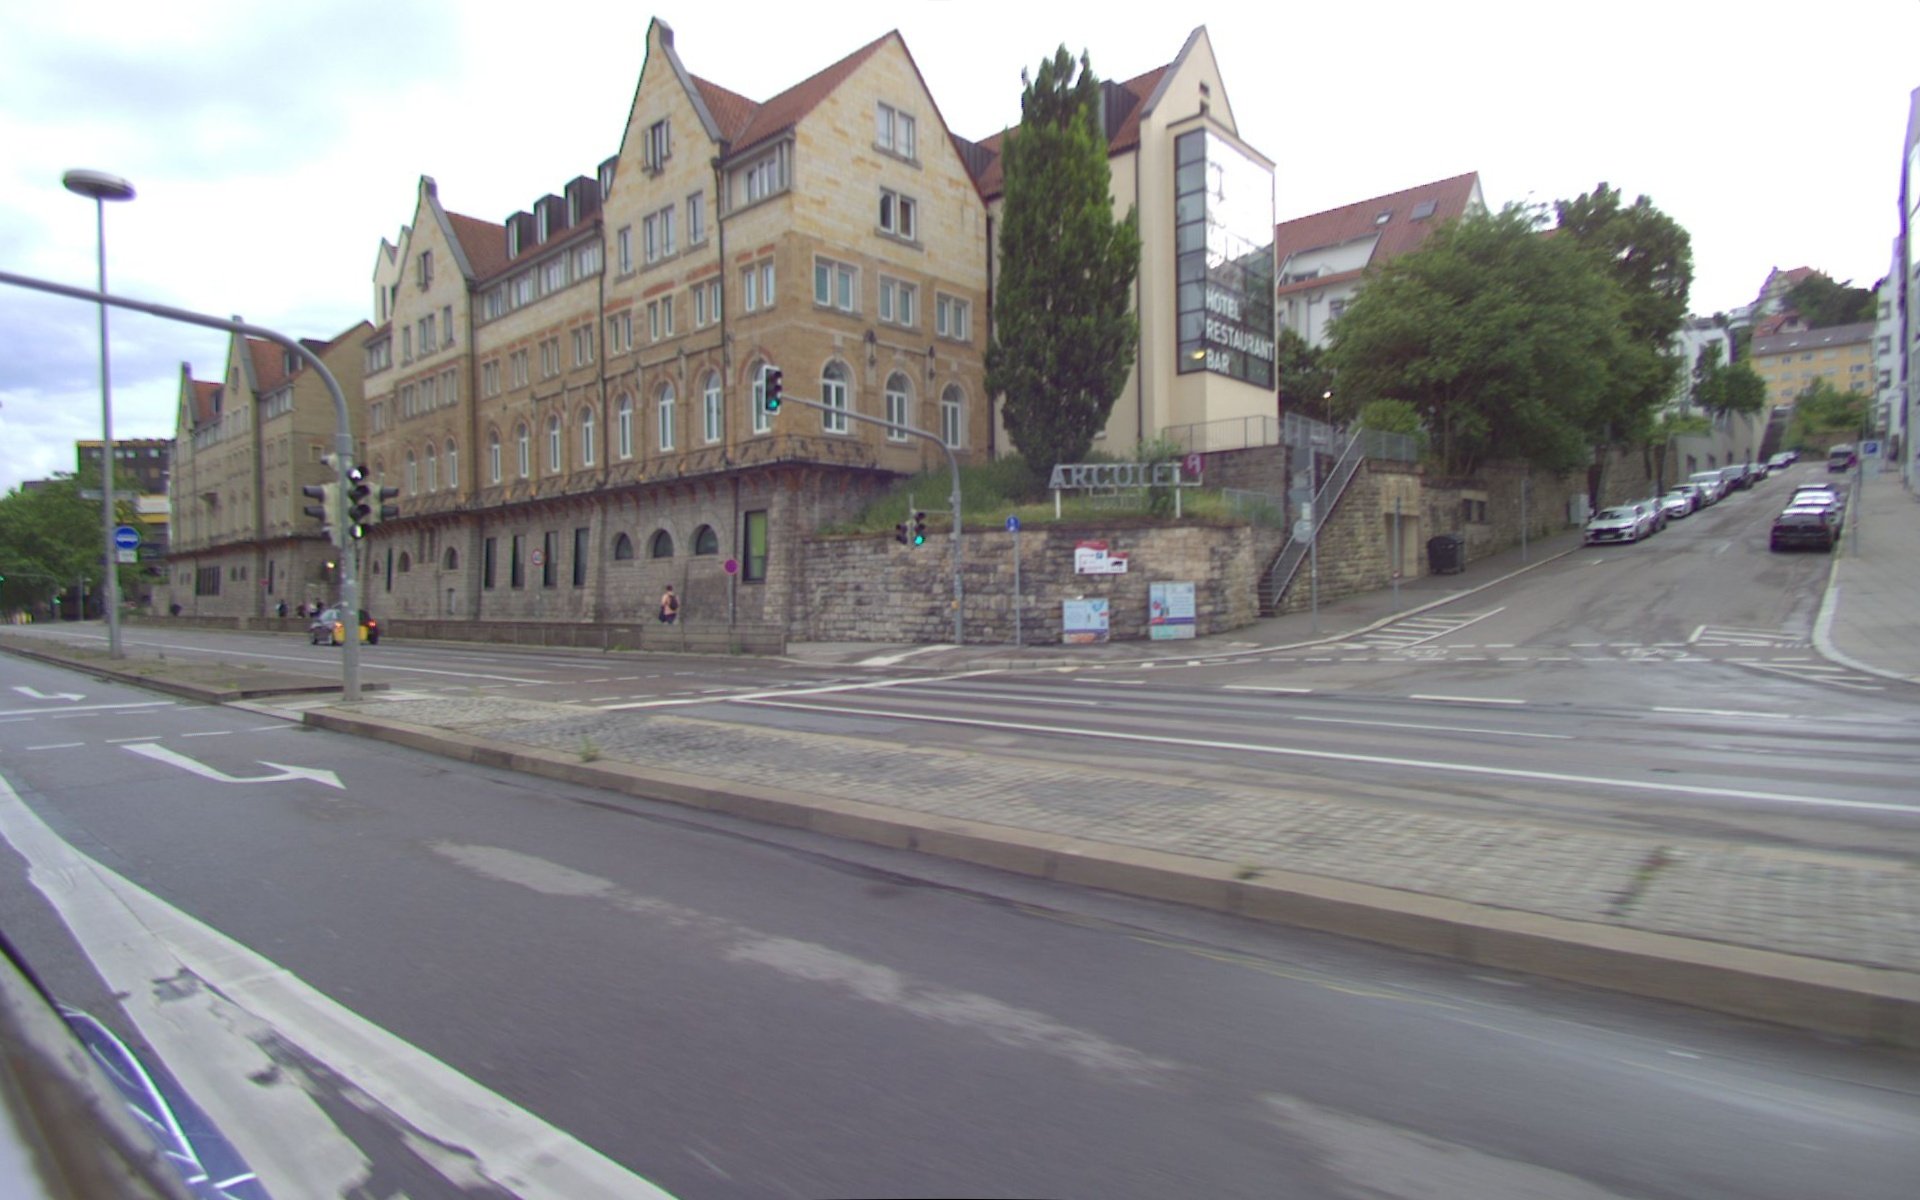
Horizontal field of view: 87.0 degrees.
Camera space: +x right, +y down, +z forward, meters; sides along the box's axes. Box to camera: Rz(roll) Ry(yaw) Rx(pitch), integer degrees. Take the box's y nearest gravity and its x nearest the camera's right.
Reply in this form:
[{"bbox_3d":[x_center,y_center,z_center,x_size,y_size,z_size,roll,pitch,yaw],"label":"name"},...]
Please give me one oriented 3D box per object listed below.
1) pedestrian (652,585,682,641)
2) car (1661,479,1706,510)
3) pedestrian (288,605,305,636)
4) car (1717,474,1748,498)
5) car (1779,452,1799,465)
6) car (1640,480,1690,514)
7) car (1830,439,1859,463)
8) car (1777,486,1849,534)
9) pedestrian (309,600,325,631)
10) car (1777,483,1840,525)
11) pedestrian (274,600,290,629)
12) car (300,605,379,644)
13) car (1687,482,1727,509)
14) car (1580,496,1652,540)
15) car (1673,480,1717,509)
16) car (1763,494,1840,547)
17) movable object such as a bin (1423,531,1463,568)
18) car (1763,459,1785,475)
[{"bbox_3d":[-9.541,0.417,32.988,0.683,1.792,0.669,0,1,42],"label":"pedestrian"},{"bbox_3d":[43.904,-6.418,61.366,1.848,1.696,3.947,1,6,41],"label":"car"},{"bbox_3d":[-38.295,1.185,58.446,0.683,1.792,0.669,0,1,42],"label":"pedestrian"},{"bbox_3d":[62.021,-9.151,81.228,1.709,1.696,3.946,1,6,42],"label":"car"},{"bbox_3d":[115.033,-19.598,140.409,1.882,1.696,3.946,1,6,42],"label":"car"},{"bbox_3d":[39.348,-5.781,56.471,1.814,1.696,3.946,1,6,42],"label":"car"},{"bbox_3d":[86.815,-14.615,99.346,2.001,2.105,3.945,1,7,44],"label":"car"},{"bbox_3d":[33.558,-3.562,39.899,1.875,1.588,3.954,0,6,36],"label":"car"},{"bbox_3d":[-38.766,0.929,60.999,0.683,1.792,0.669,0,1,42],"label":"pedestrian"},{"bbox_3d":[37.629,-4.281,44.948,1.875,1.588,3.954,0,6,36],"label":"car"},{"bbox_3d":[-43.337,0.920,64.692,0.683,1.792,0.669,0,1,42],"label":"pedestrian"},{"bbox_3d":[-25.384,0.989,41.343,3.999,1.475,1.692,-1,1,42],"label":"car"},{"bbox_3d":[51.914,-7.290,70.314,1.814,1.696,3.946,1,6,42],"label":"car"},{"bbox_3d":[28.834,-3.626,44.463,2.053,1.696,3.946,1,6,42],"label":"car"},{"bbox_3d":[47.746,-6.883,65.738,1.916,1.696,3.946,1,6,42],"label":"car"},{"bbox_3d":[29.844,-2.855,35.990,1.875,1.588,3.954,0,6,36],"label":"car"},{"bbox_3d":[17.820,-1.849,37.340,1.117,1.252,0.817,0,8,41],"label":"movable object such as a bin"},{"bbox_3d":[97.728,-15.936,121.517,1.882,1.696,3.946,1,6,42],"label":"car"}]
